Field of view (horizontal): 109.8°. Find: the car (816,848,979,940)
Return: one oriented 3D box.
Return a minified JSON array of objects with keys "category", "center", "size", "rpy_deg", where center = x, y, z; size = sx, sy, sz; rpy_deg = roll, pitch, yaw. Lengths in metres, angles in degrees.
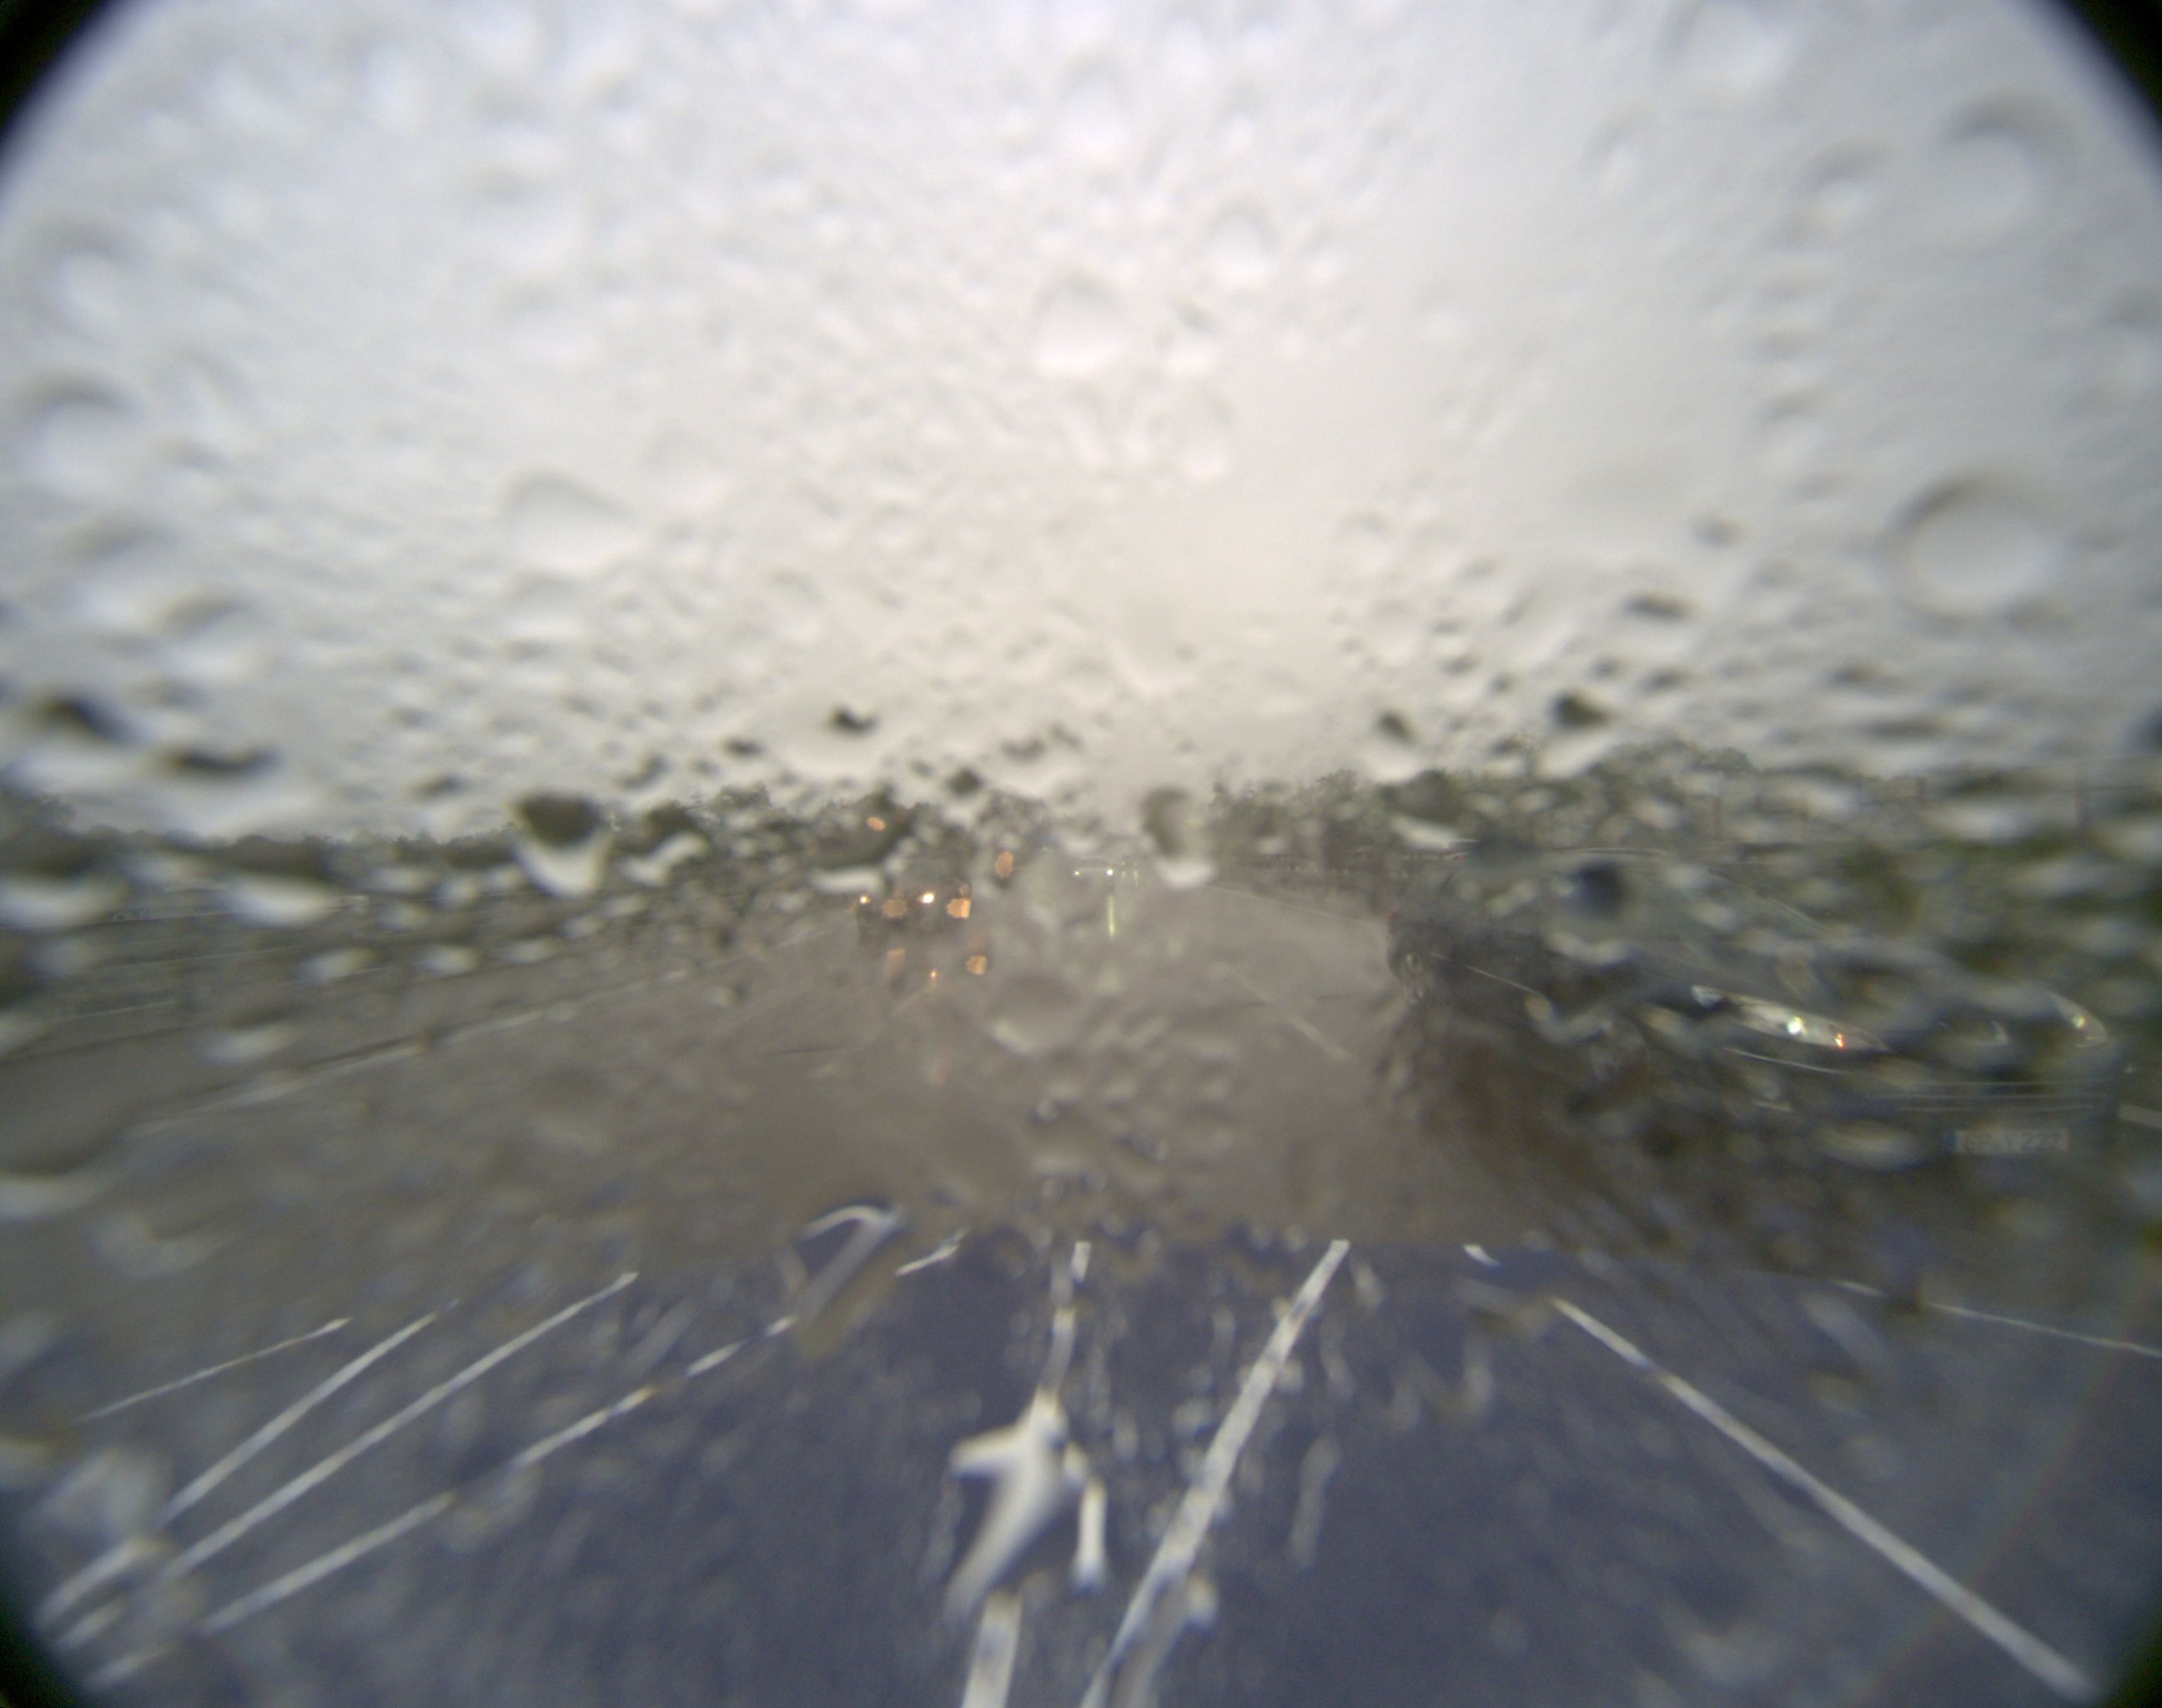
[{"category":"car","center":[-4.046,0.797,18.010],"size":[2.464,1.736,5.718],"rpy_deg":[-2,0,-1]}]

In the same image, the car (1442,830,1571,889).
[{"category":"car","center":[12.558,0.141,22.697],"size":[1.787,1.541,3.766],"rpy_deg":[-2,0,2]}]

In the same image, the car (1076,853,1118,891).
[{"category":"car","center":[0.790,0.781,34.959],"size":[1.751,1.545,4.090],"rpy_deg":[-2,1,2]}]

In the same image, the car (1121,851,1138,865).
[{"category":"car","center":[5.631,0.495,88.997],"size":[1.900,1.533,4.091],"rpy_deg":[-2,0,2]}]

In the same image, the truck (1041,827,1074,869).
[{"category":"truck","center":[-2.314,-0.589,76.896],"size":[2.755,4.055,6.483],"rpy_deg":[-2,0,2]}]

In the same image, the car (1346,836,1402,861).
[{"category":"car","center":[17.596,-0.323,45.812],"size":[1.843,1.376,3.920],"rpy_deg":[-3,0,1]}]

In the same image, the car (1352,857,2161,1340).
[{"category":"car","center":[3.762,0.817,5.075],"size":[2.059,1.477,5.157],"rpy_deg":[-2,0,0]}]
